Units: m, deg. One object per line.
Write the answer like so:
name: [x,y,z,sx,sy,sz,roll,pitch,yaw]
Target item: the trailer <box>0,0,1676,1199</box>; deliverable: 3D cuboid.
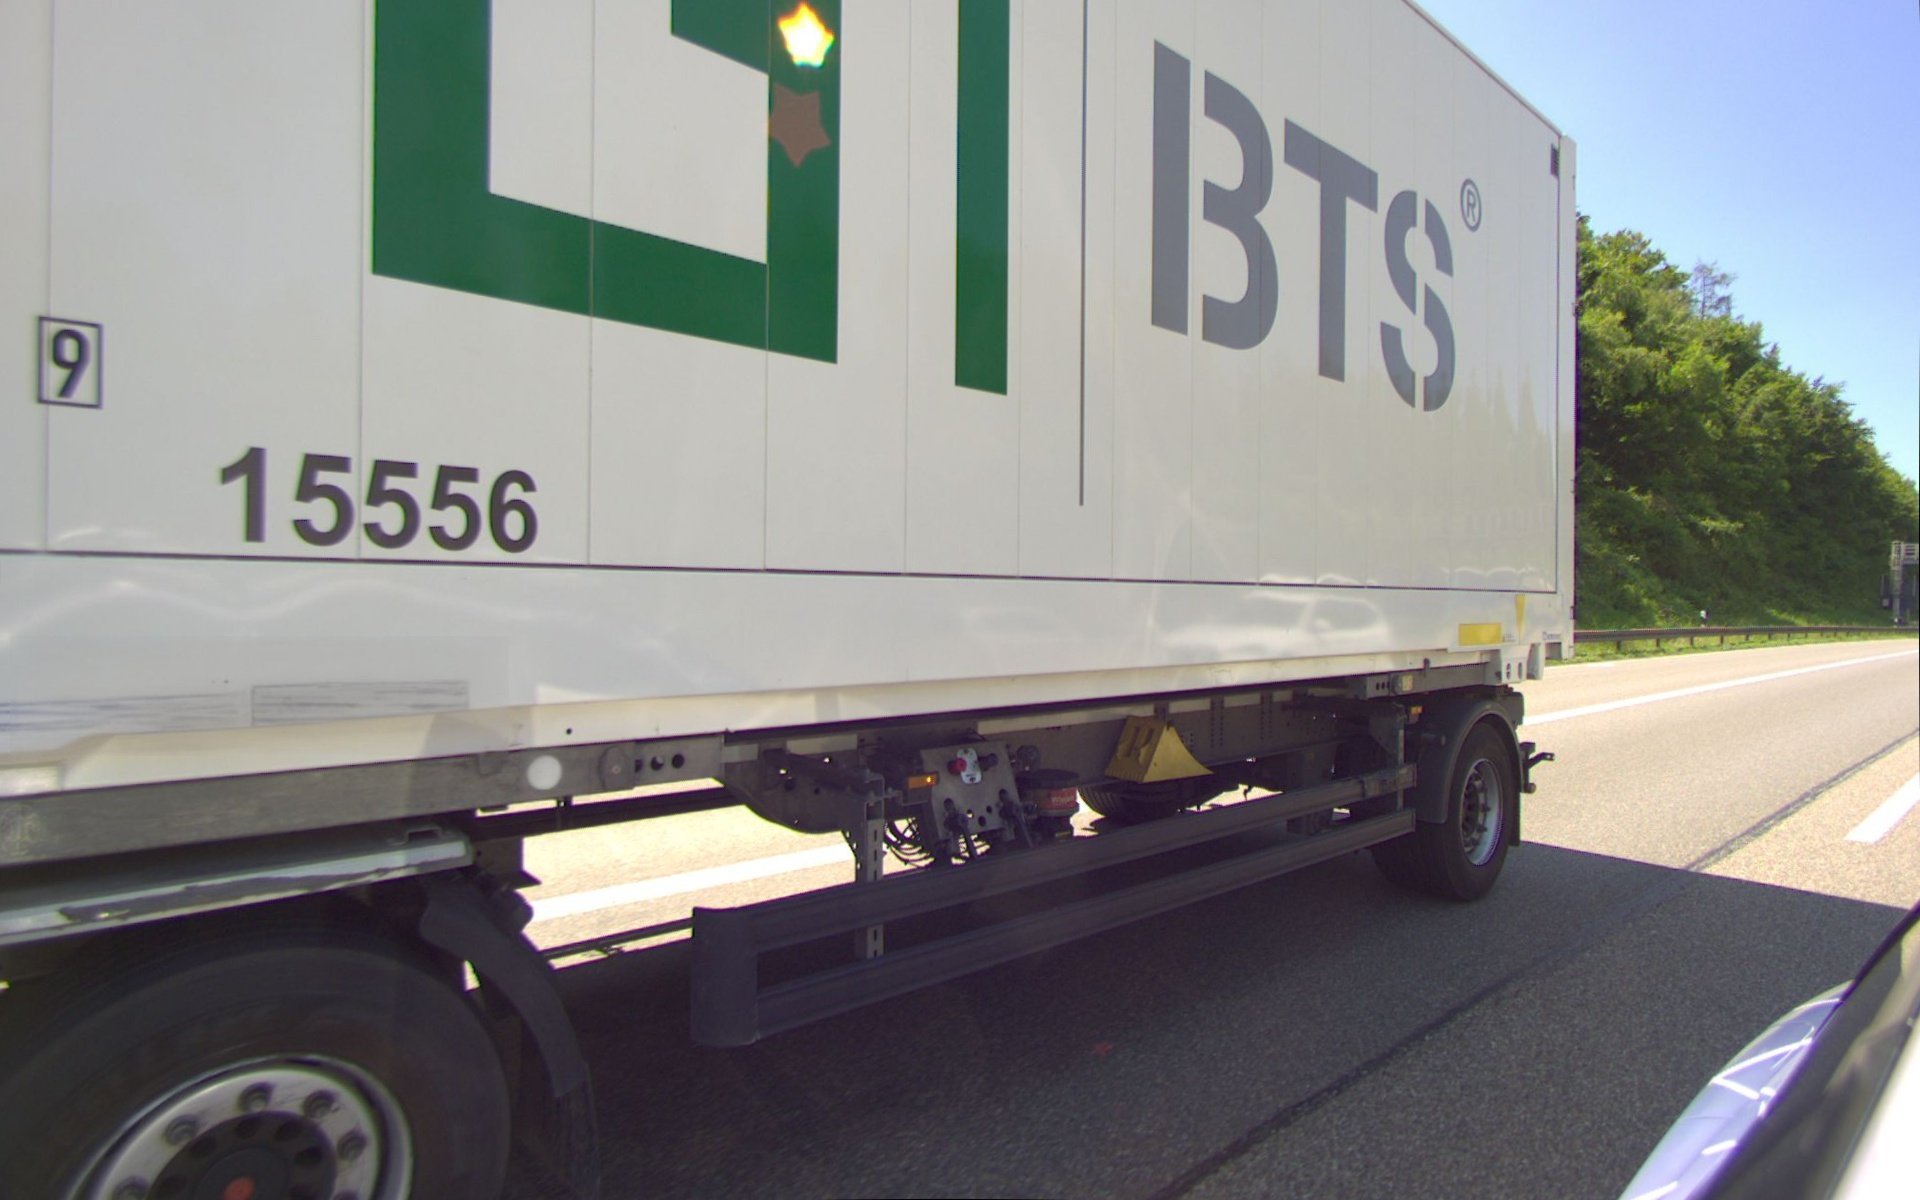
trailer: [0.105,-0.747,4.394,9.888,4.229,2.684,1,-1,-41]
